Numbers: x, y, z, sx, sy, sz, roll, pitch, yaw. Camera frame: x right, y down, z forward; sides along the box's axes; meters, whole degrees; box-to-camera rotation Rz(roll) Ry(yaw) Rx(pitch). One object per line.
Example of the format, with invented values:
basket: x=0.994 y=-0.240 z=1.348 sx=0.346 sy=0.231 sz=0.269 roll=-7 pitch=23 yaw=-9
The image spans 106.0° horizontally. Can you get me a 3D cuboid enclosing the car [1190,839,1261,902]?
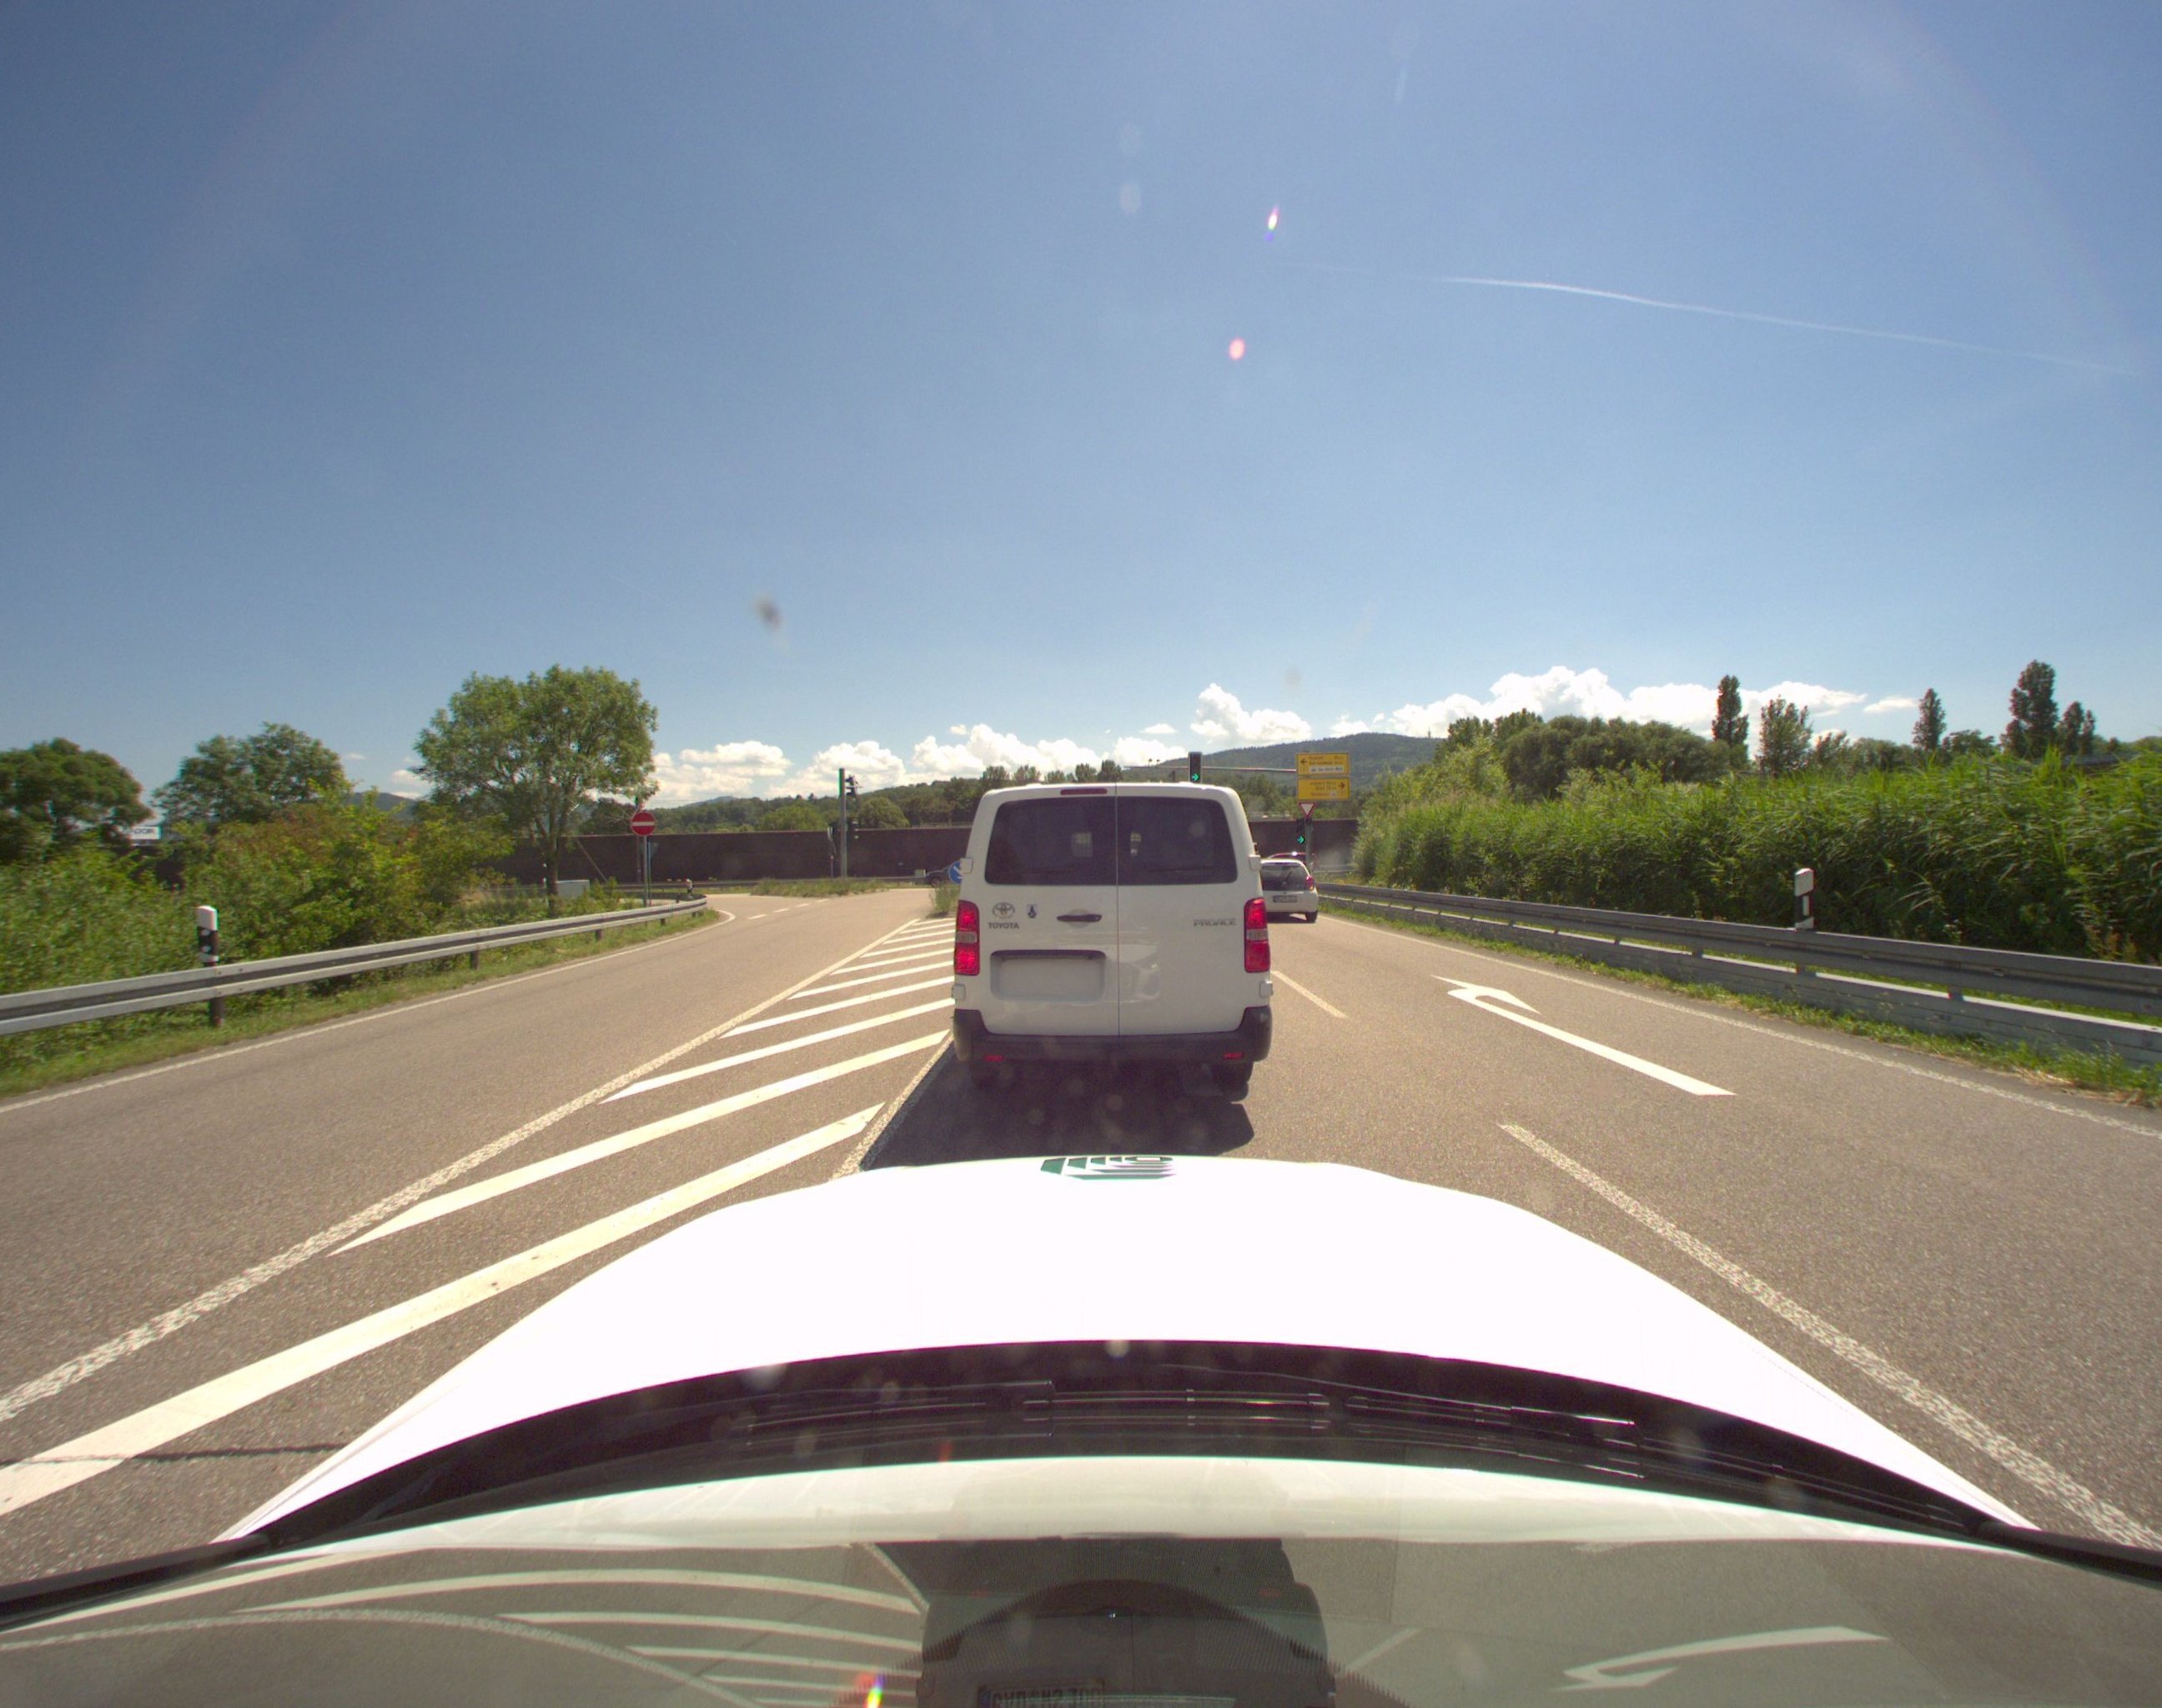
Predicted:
car: x=4.929 y=0.536 z=28.355 sx=1.920 sy=2.000 sz=4.842 roll=-1 pitch=-1 yaw=4

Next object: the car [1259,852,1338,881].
car: x=13.213 y=0.767 z=49.613 sx=4.298 sy=1.656 sz=1.999 roll=-1 pitch=-1 yaw=-2

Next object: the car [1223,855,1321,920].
car: x=4.577 y=0.765 z=19.919 sx=1.650 sy=1.431 sz=3.366 roll=-1 pitch=-1 yaw=1

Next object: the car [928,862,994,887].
car: x=-7.810 y=1.324 z=53.131 sx=3.974 sy=1.555 sz=2.000 roll=-1 pitch=0 yaw=-1

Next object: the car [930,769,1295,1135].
car: x=0.208 y=0.522 z=6.232 sx=1.880 sy=1.886 sz=4.001 roll=-1 pitch=-1 yaw=1
